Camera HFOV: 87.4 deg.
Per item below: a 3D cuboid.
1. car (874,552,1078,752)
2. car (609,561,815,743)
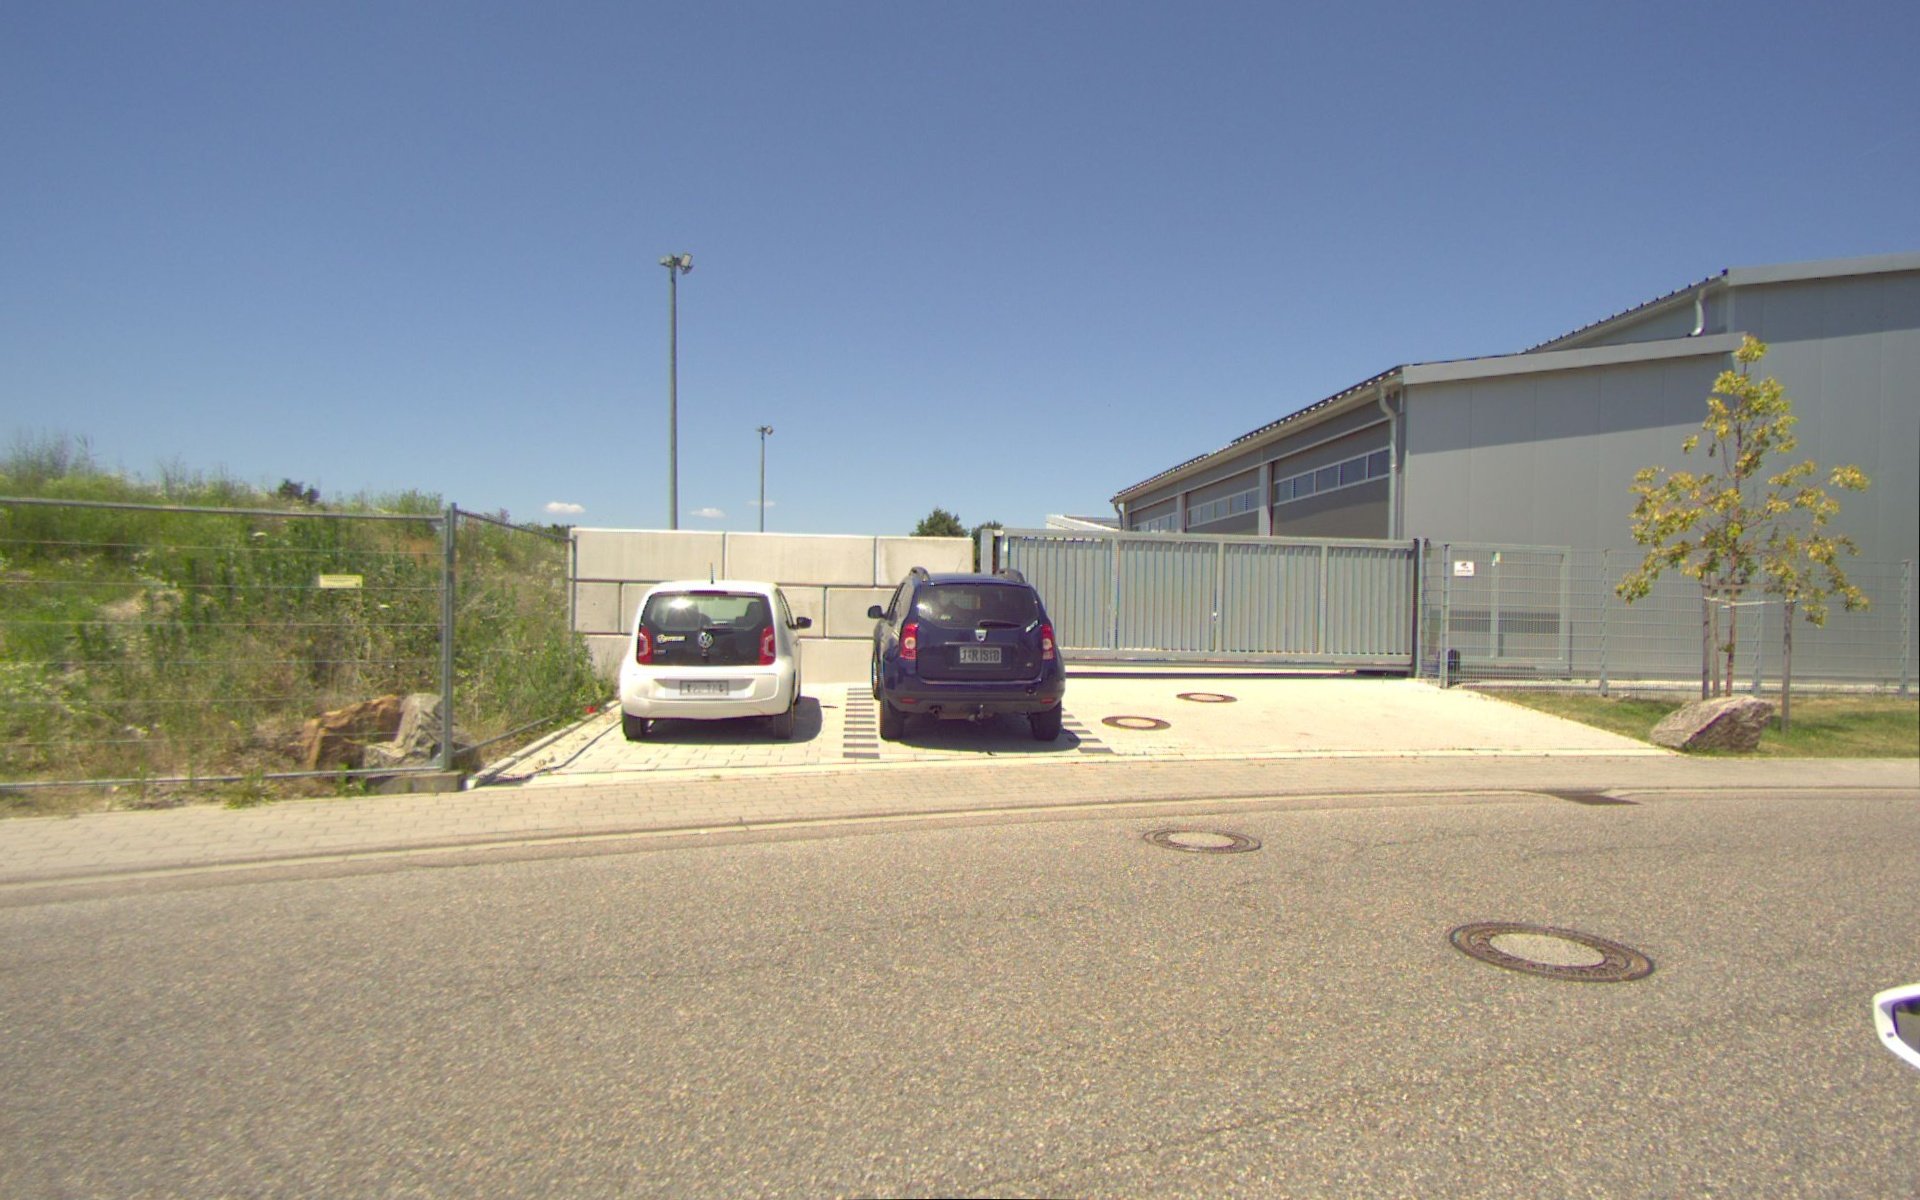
[{"bbox_3d":[-0.031,0.389,11.213,1.748,1.681,4.170,2,4,-6],"label":"car"},{"bbox_3d":[-2.460,0.419,10.676,1.749,1.482,3.366,1,4,-8],"label":"car"}]
